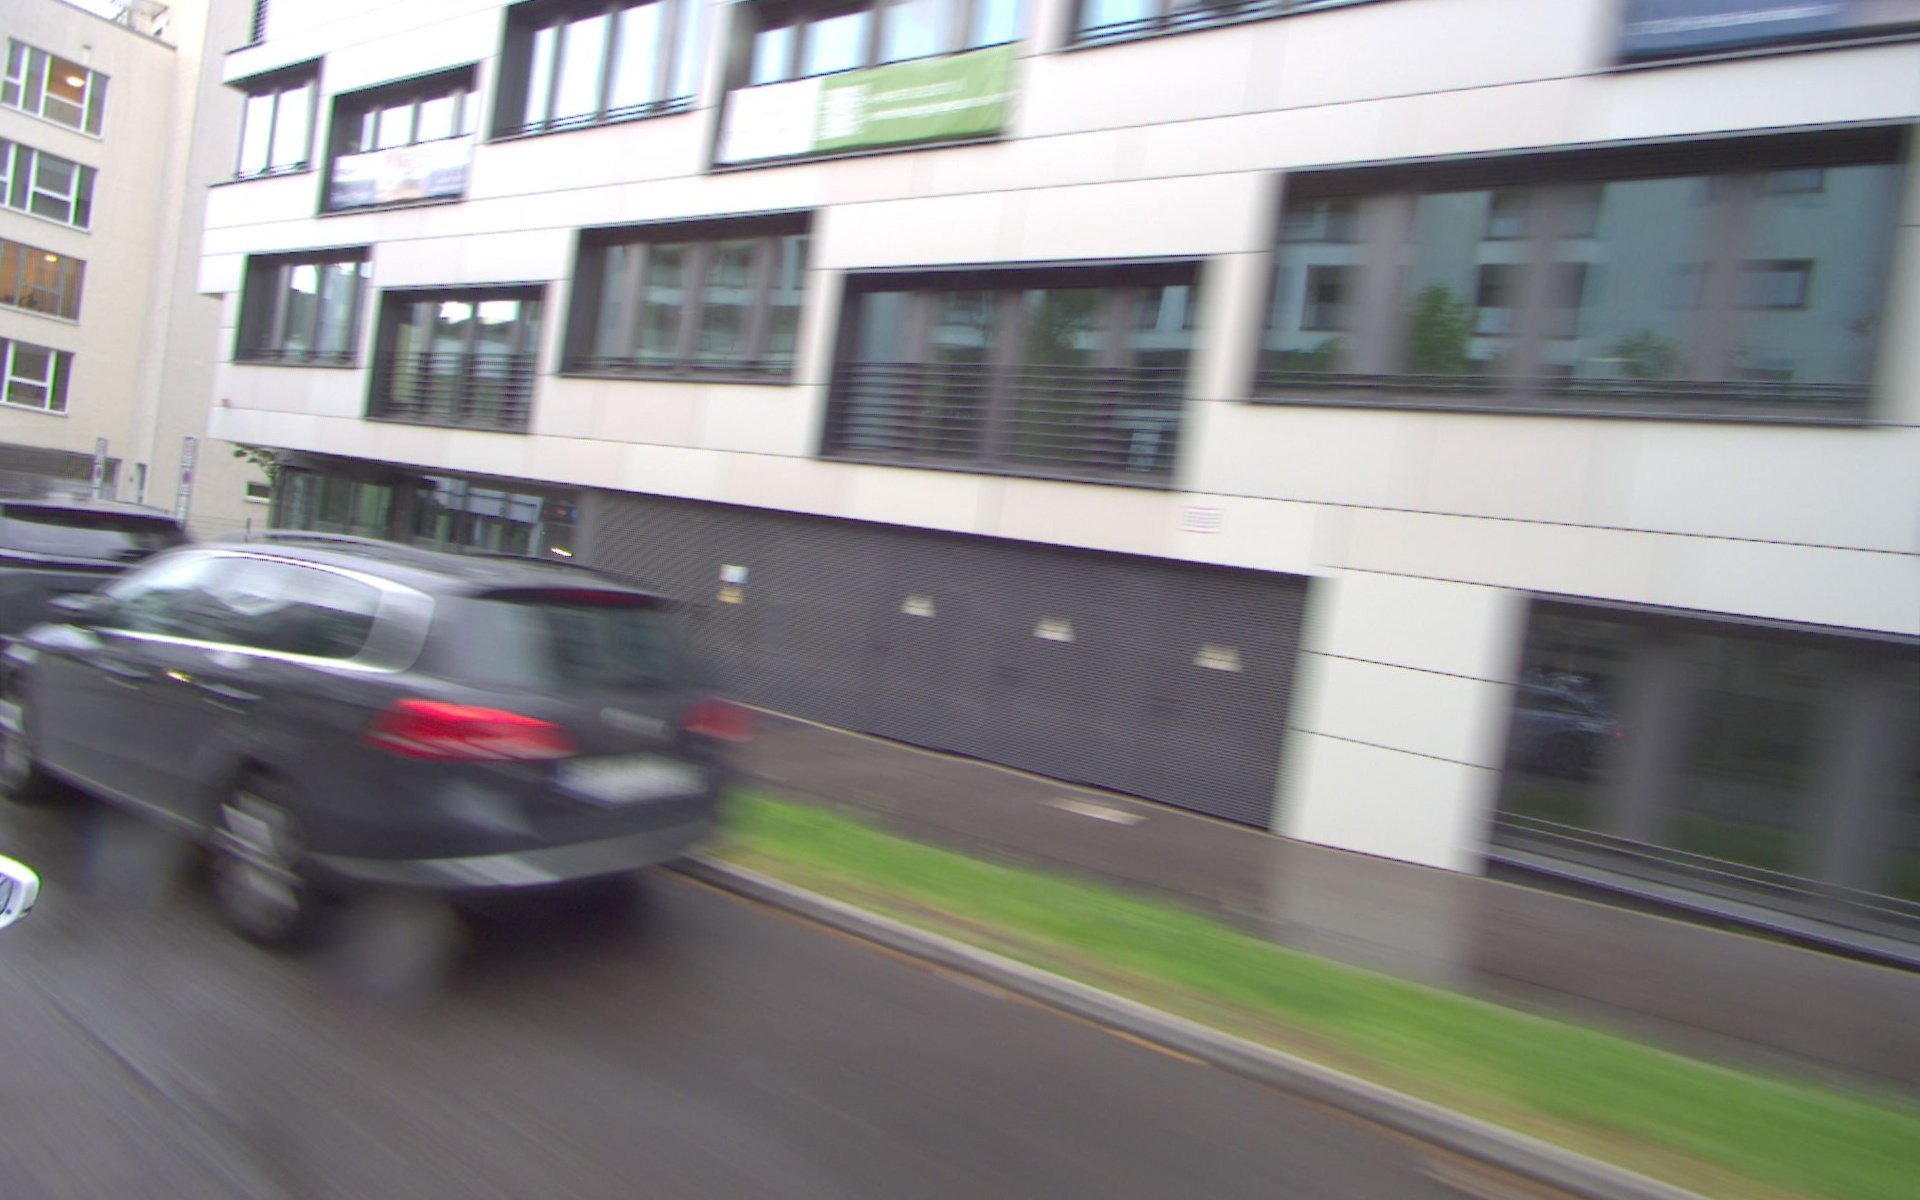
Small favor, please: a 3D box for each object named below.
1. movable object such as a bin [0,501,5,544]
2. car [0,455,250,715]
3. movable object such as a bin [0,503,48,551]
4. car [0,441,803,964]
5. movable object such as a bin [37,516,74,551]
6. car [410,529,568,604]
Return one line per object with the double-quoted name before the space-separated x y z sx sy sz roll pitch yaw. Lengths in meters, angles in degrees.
"movable object such as a bin" -31.296 -2.551 31.849 1.173 1.336 1.235 6 0 35
"car" -7.583 -0.218 7.827 4.302 1.624 1.751 6 -2 33
"movable object such as a bin" -31.415 -2.436 33.471 1.095 1.419 1.261 7 -1 35
"car" -3.270 0.197 5.082 4.767 1.582 1.810 6 -2 33
"movable object such as a bin" -30.848 -2.272 34.324 0.839 1.039 0.699 7 0 35
"car" -14.898 -1.028 32.013 1.864 1.632 3.994 6 -4 36
